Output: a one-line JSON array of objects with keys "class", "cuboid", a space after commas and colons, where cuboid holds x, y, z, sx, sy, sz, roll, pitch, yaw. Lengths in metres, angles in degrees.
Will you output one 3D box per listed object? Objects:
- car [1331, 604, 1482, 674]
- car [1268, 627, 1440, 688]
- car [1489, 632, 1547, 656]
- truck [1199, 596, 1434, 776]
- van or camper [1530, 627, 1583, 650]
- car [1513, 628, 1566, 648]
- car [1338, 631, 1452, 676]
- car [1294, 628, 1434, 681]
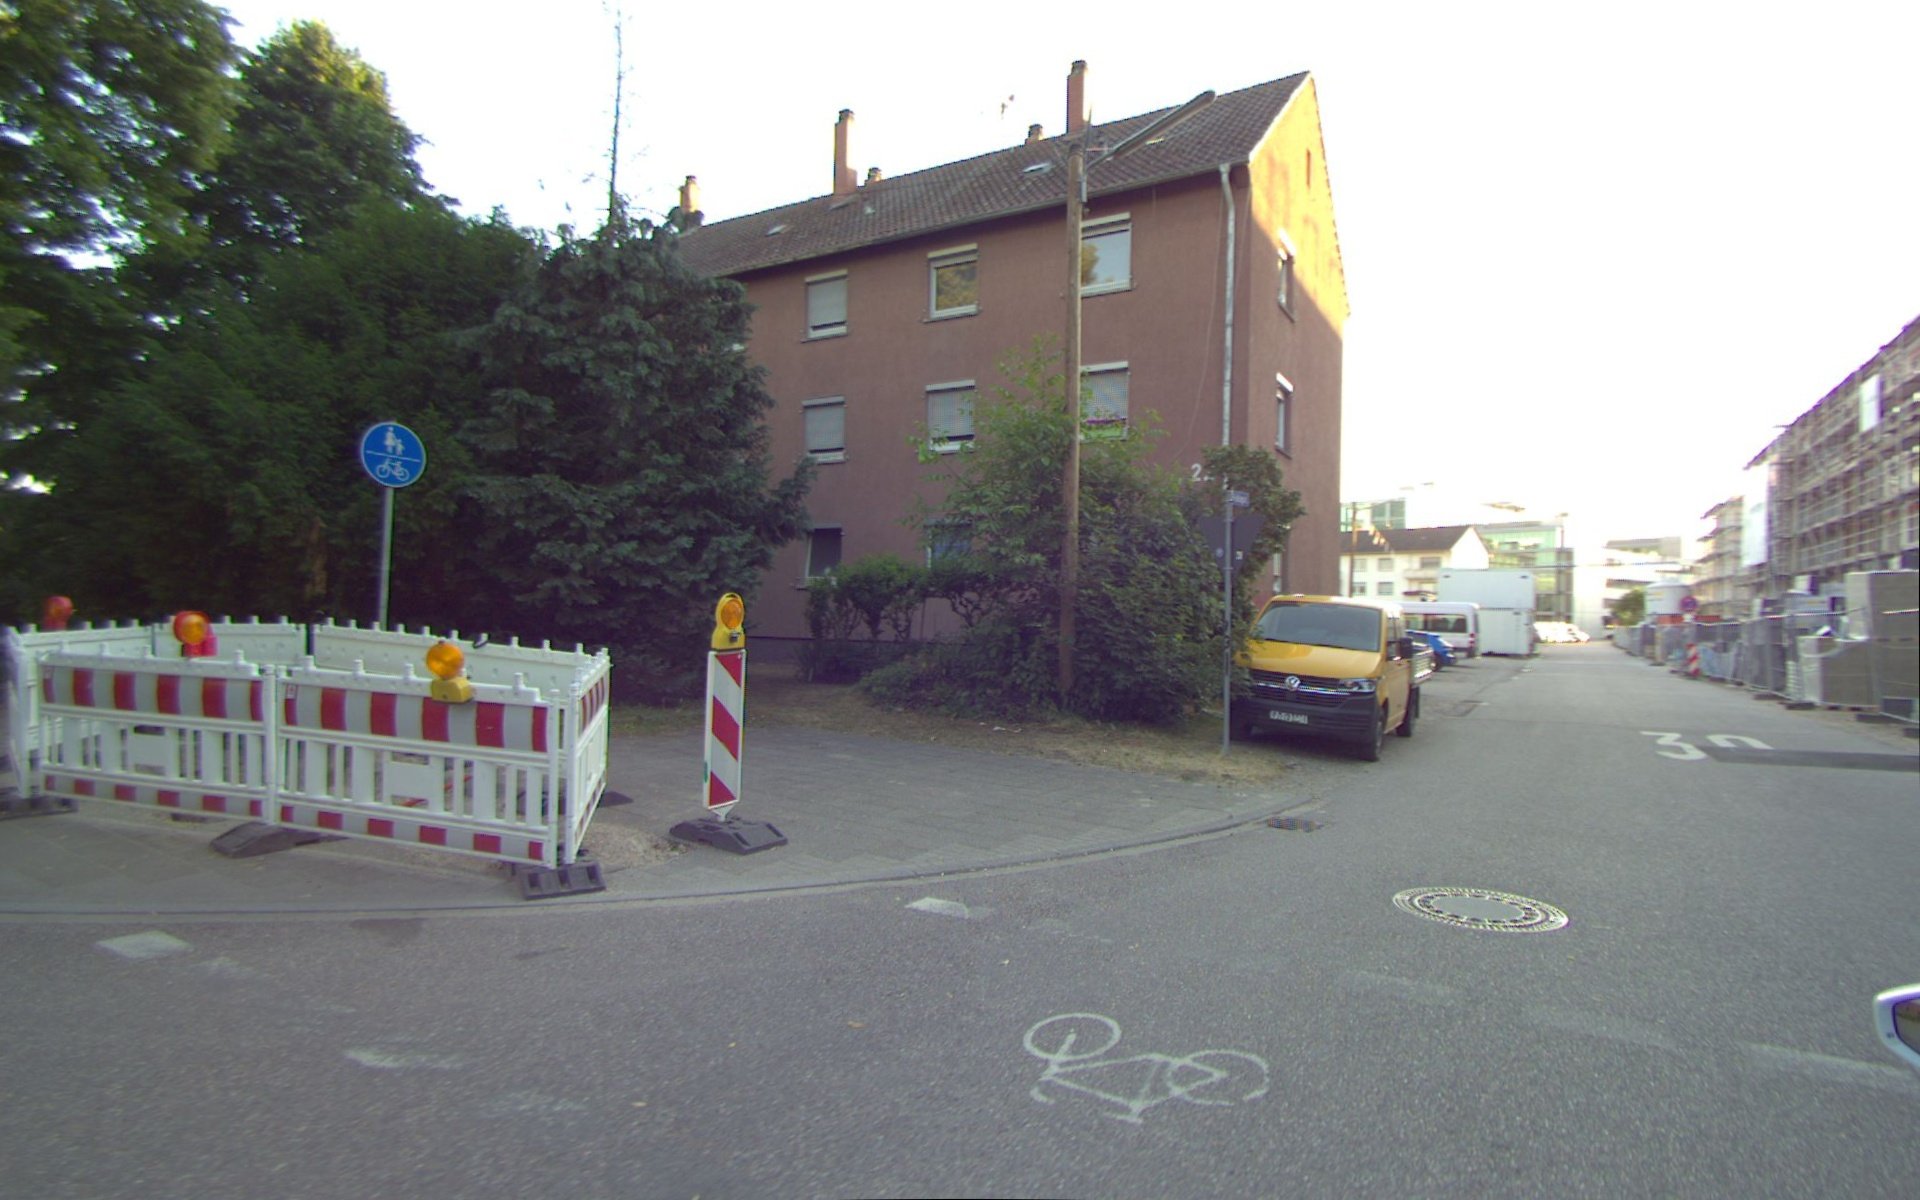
[{"class": "car", "cuboid": [19.256, 1.650, 43.454, 5.610, 2.661, 2.216, 2, -1, 33]}, {"class": "car", "cuboid": [12.972, 1.852, 33.203, 4.925, 1.565, 2.110, 3, 0, 34]}, {"class": "car", "cuboid": [69.024, 5.464, 124.272, 6.239, 2.777, 1.995, 1, -1, 32]}, {"class": "truck", "cuboid": [5.248, 1.072, 14.147, 2.005, 1.938, 5.650, 3, -1, 31]}, {"class": "van or camper", "cuboid": [87.146, 5.600, 146.868, 6.266, 3.018, 2.279, 1, -1, 44]}, {"class": "car", "cuboid": [78.707, 5.187, 136.467, 5.859, 2.523, 1.989, 0, -2, 43]}, {"class": "car", "cuboid": [16.493, 2.012, 38.075, 3.779, 1.448, 1.725, 2, -1, 29]}, {"class": "car", "cuboid": [14.171, 1.879, 35.298, 4.350, 1.565, 1.725, 2, -1, 28]}]
